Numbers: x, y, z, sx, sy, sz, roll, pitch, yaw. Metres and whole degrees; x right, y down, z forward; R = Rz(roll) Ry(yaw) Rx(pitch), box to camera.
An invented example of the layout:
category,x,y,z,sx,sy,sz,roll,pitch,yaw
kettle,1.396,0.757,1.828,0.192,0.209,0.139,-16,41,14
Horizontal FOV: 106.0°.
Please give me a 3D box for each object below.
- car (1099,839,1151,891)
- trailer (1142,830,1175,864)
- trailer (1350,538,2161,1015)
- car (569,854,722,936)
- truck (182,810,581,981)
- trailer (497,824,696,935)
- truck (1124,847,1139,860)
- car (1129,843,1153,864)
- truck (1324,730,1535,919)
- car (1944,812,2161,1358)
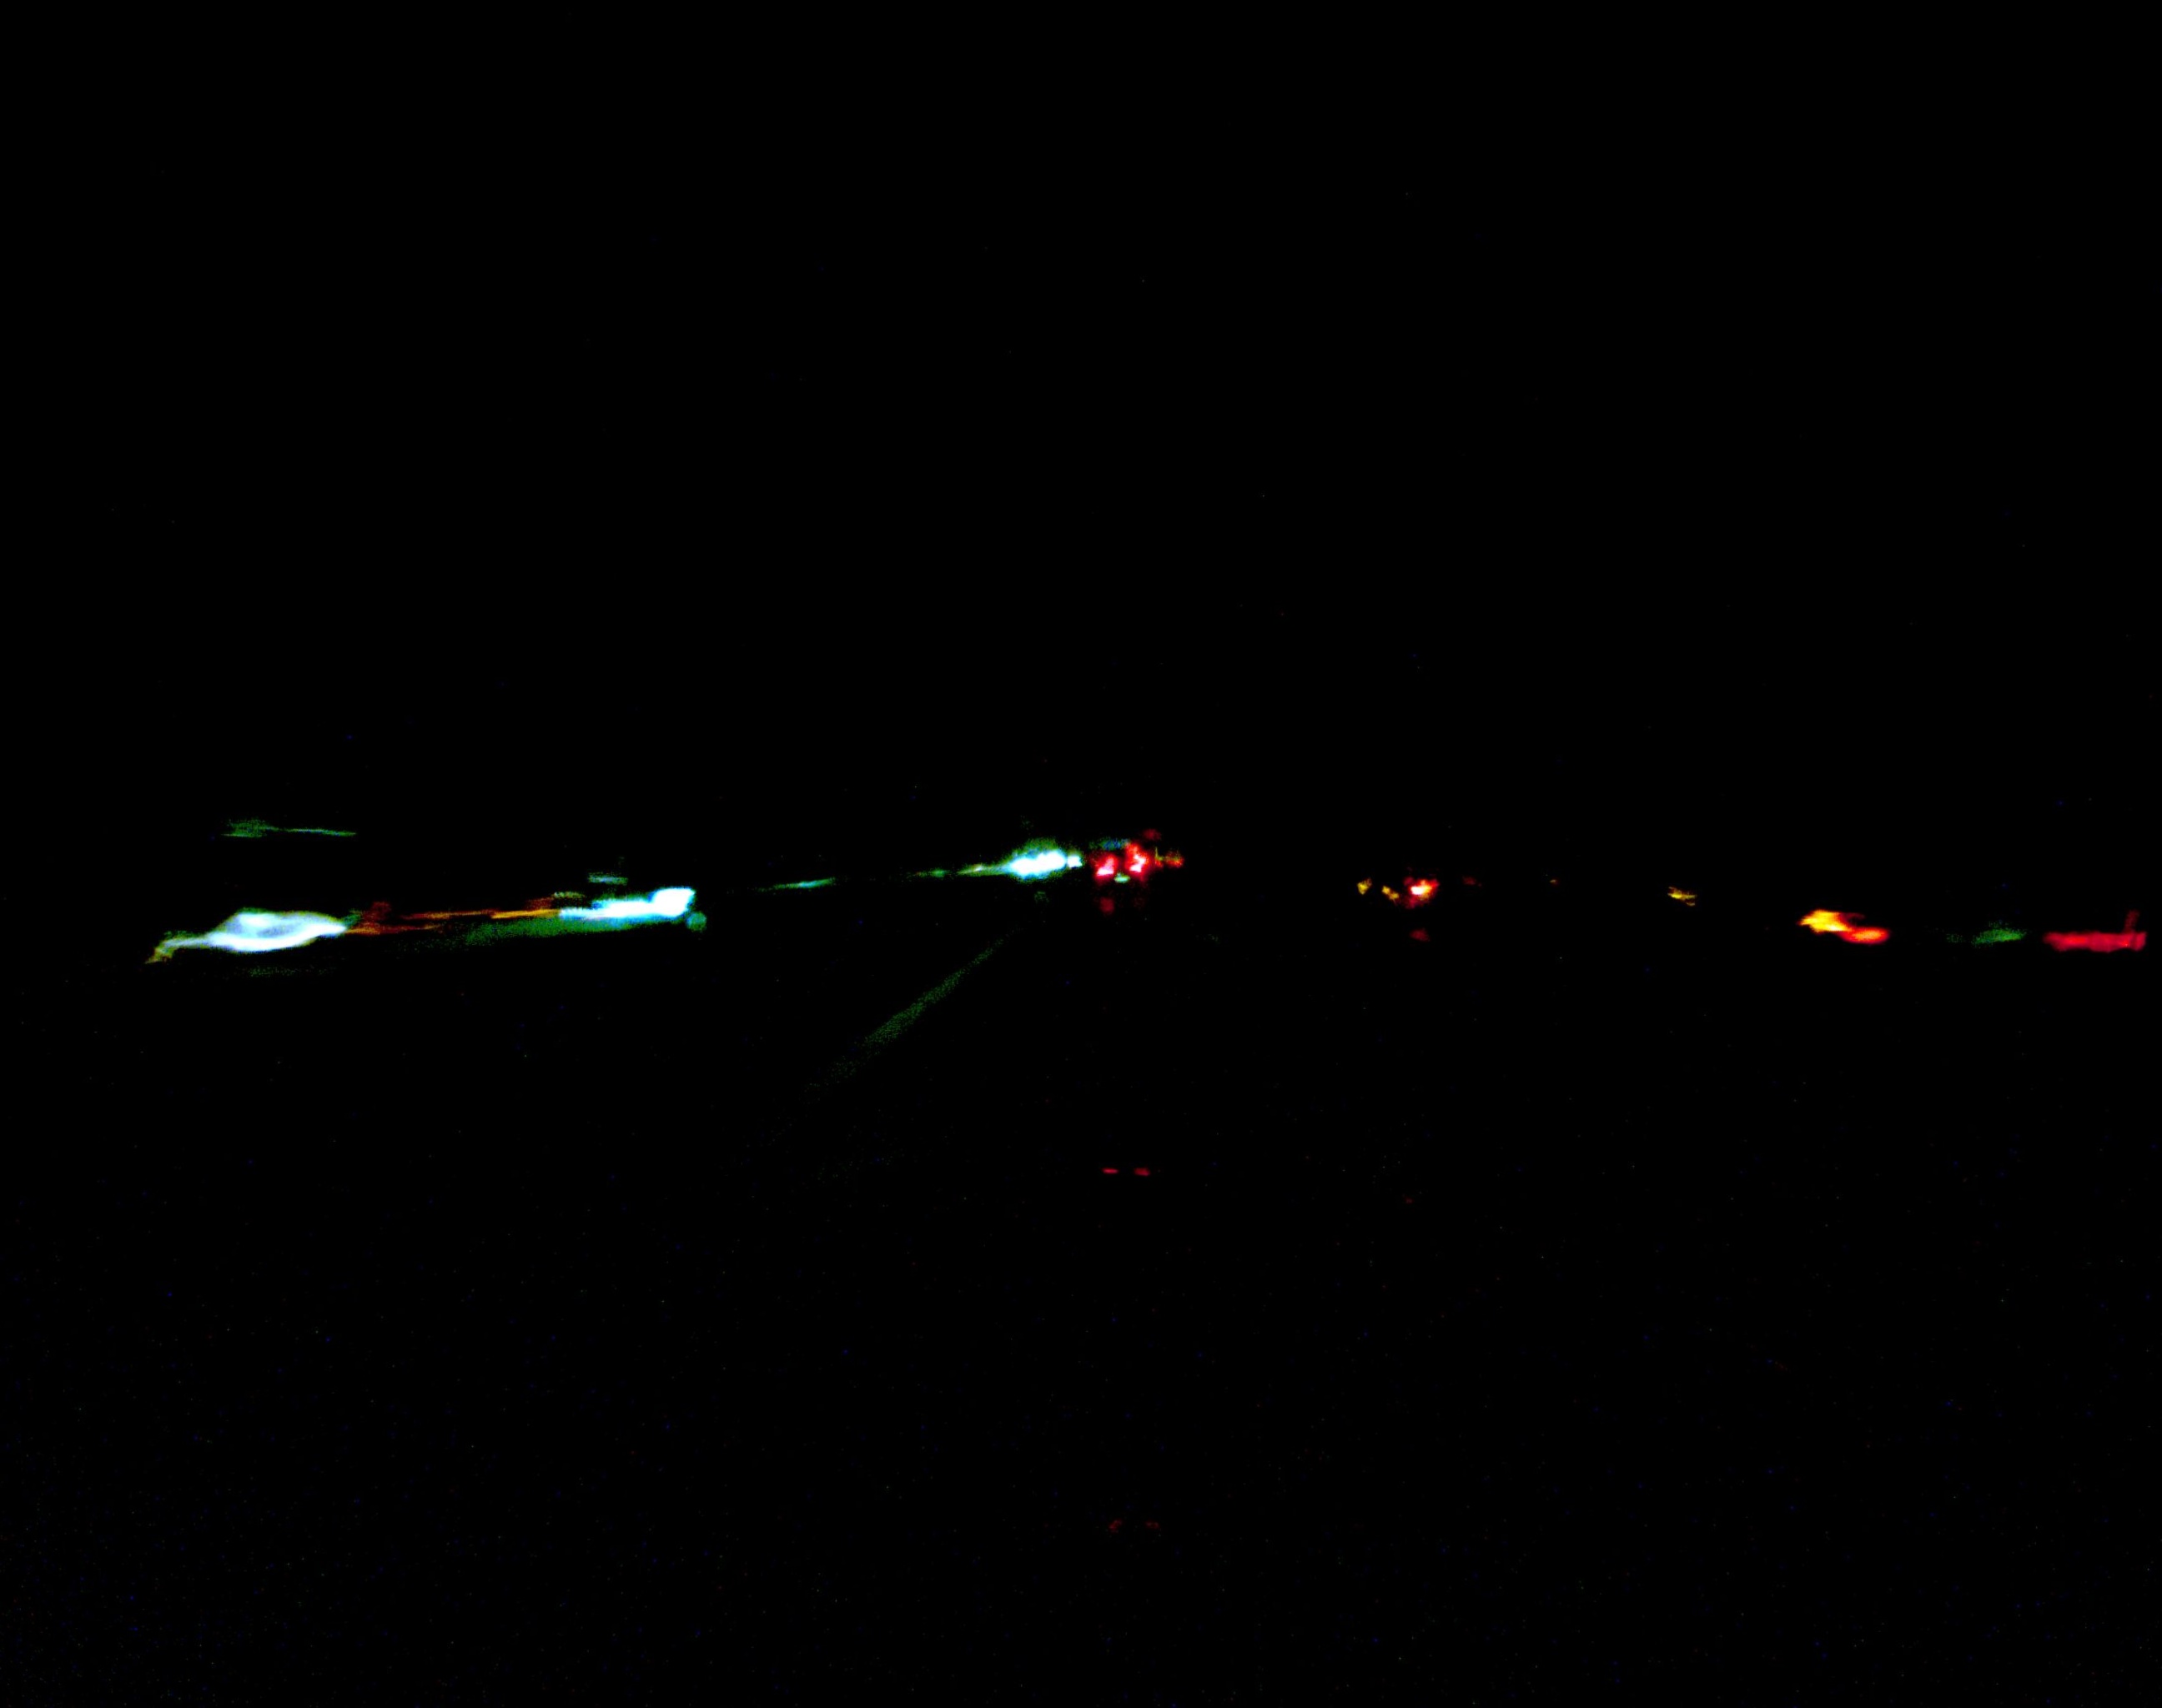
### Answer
category,x,y,z,sx,sy,sz,roll,pitch,yaw
car,1.784,0.468,34.063,1.986,2.014,4.000,-1,-1,1
trailer,10.233,-0.816,109.014,3.031,4.108,13.826,-3,-1,0
trailer,8.521,-0.691,14.495,2.892,4.108,14.492,-3,0,2
car,-12.065,1.066,22.917,1.986,2.013,4.001,-2,0,1
truck,-19.517,0.955,24.178,2.858,3.907,10.211,-2,0,0
trailer,-19.495,0.910,33.683,2.847,3.900,8.705,-2,0,0
truck,13.416,-0.081,216.965,3.027,3.297,11.379,-3,-1,0
car,6.433,-0.027,87.666,1.988,2.013,3.997,-3,-1,-2
truck,8.721,-0.662,21.296,2.892,4.108,6.033,-3,0,1
car,3.928,0.634,0.660,1.734,1.575,4.495,-1,0,1
